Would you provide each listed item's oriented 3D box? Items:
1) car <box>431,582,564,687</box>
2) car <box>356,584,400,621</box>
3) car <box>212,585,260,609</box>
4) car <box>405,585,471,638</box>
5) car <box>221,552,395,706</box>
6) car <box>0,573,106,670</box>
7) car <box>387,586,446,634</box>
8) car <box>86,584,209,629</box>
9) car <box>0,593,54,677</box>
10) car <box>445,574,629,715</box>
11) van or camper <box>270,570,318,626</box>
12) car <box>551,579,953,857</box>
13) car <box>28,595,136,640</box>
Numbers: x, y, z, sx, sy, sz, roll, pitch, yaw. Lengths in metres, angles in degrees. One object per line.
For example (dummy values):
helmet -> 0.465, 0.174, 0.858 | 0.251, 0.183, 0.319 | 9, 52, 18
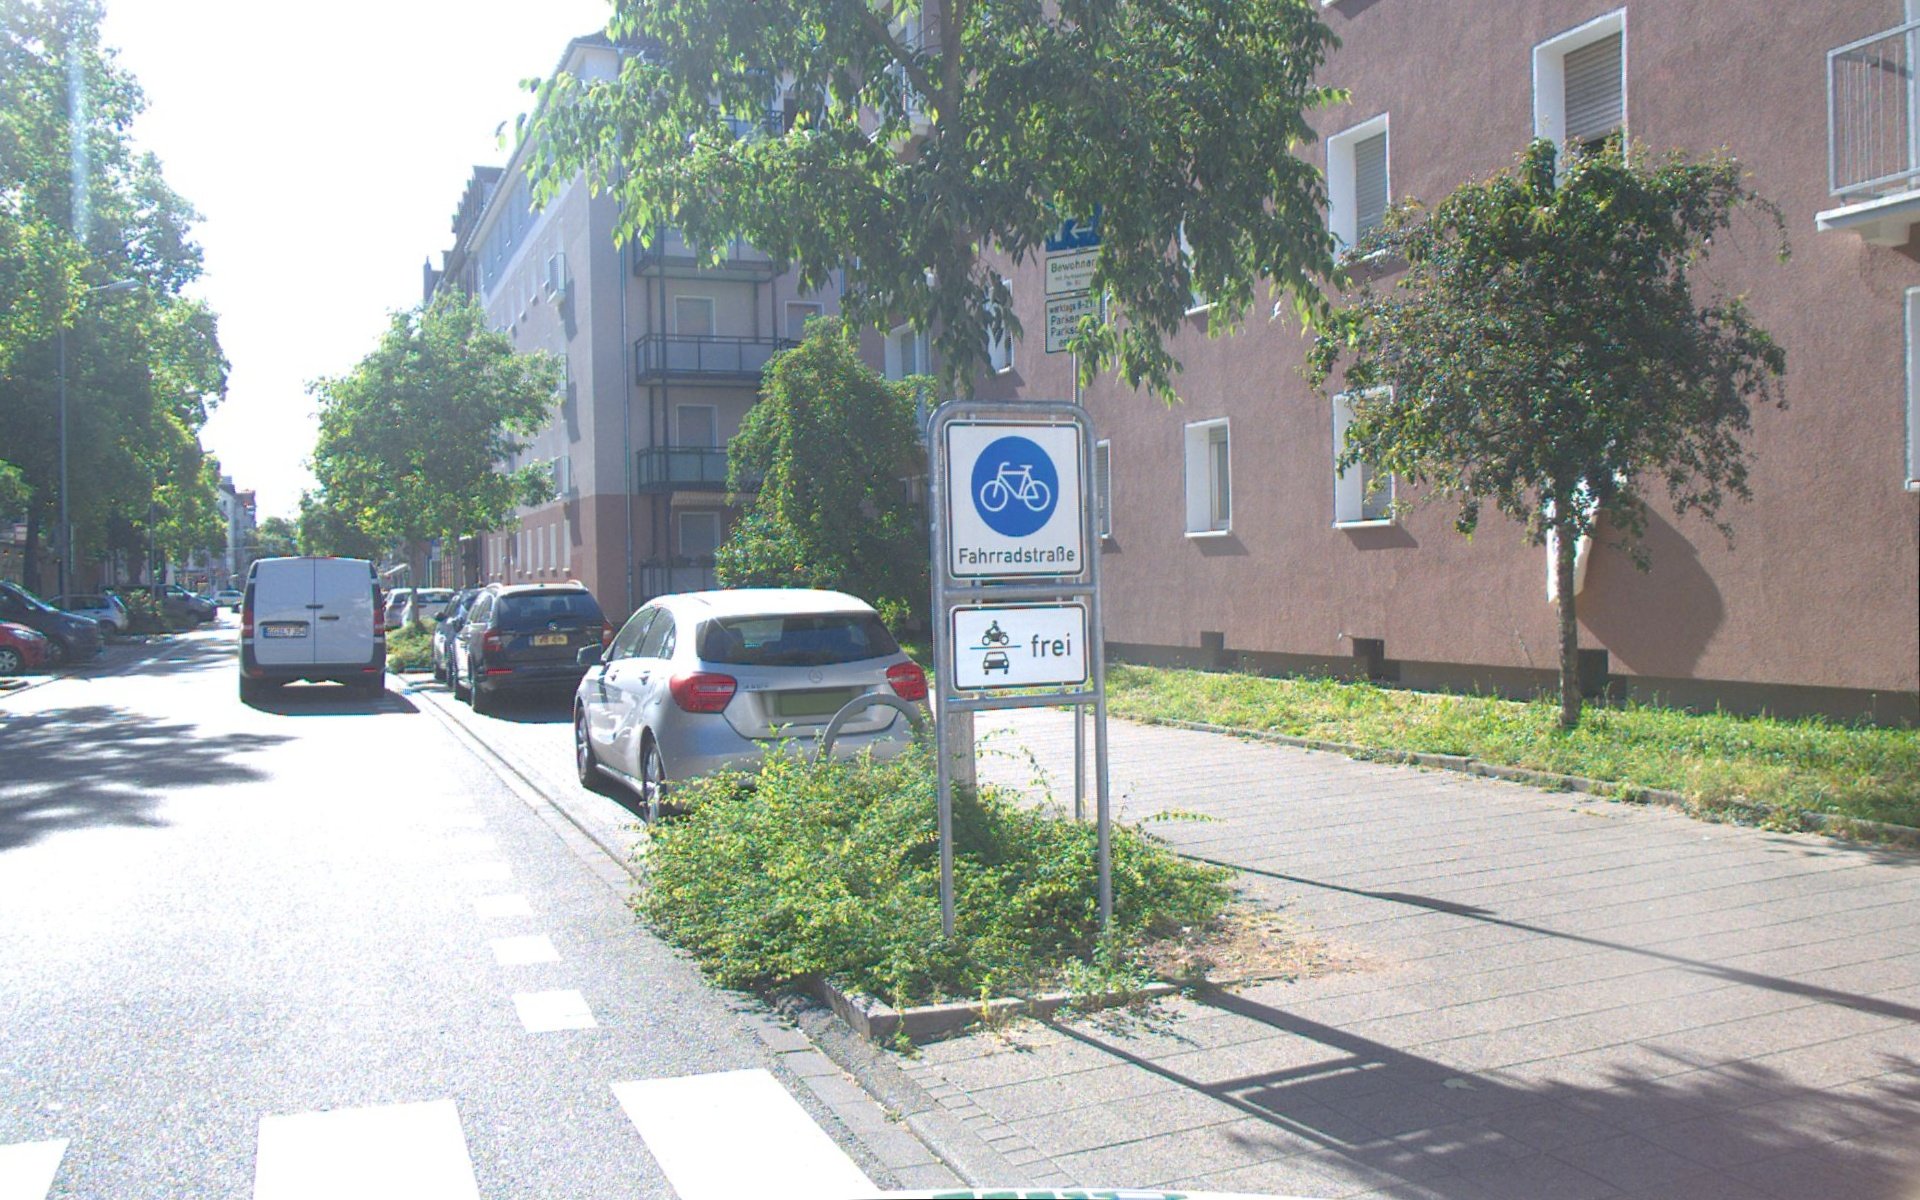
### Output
car -> -7.563, 0.502, 26.848 | 1.715, 1.546, 3.834 | -2, 1, -21
car -> -25.823, 0.099, 73.315 | 1.715, 1.546, 3.834 | -2, 1, -21
car -> -66.457, -0.276, 151.789 | 3.939, 2.049, 1.983 | -2, 1, -26
car -> -16.411, 0.324, 51.911 | 1.715, 1.546, 3.834 | -2, 1, -21
car -> -9.479, 0.334, 24.049 | 2.072, 1.941, 5.388 | -1, 1, -22
car -> -21.211, 0.482, 35.273 | 5.143, 2.016, 1.650 | -1, 1, -24
car -> -18.734, 0.312, 56.952 | 1.715, 1.546, 3.834 | -2, 1, -21
car -> -38.942, 0.302, 79.410 | 5.143, 2.016, 1.650 | -1, 1, -24
car -> -20.652, 0.733, 32.757 | 4.564, 1.638, 1.650 | -1, 1, -23
car -> -5.450, 0.482, 20.957 | 1.757, 1.546, 4.282 | -2, 1, -21
van or camper -> -31.959, -0.107, 79.470 | 1.966, 2.518, 5.782 | -2, 1, -21
car -> -1.609, 0.631, 11.273 | 1.716, 1.479, 4.128 | -2, 1, -22
car -> -29.941, 0.566, 56.487 | 3.057, 1.433, 1.650 | -1, 1, -23
